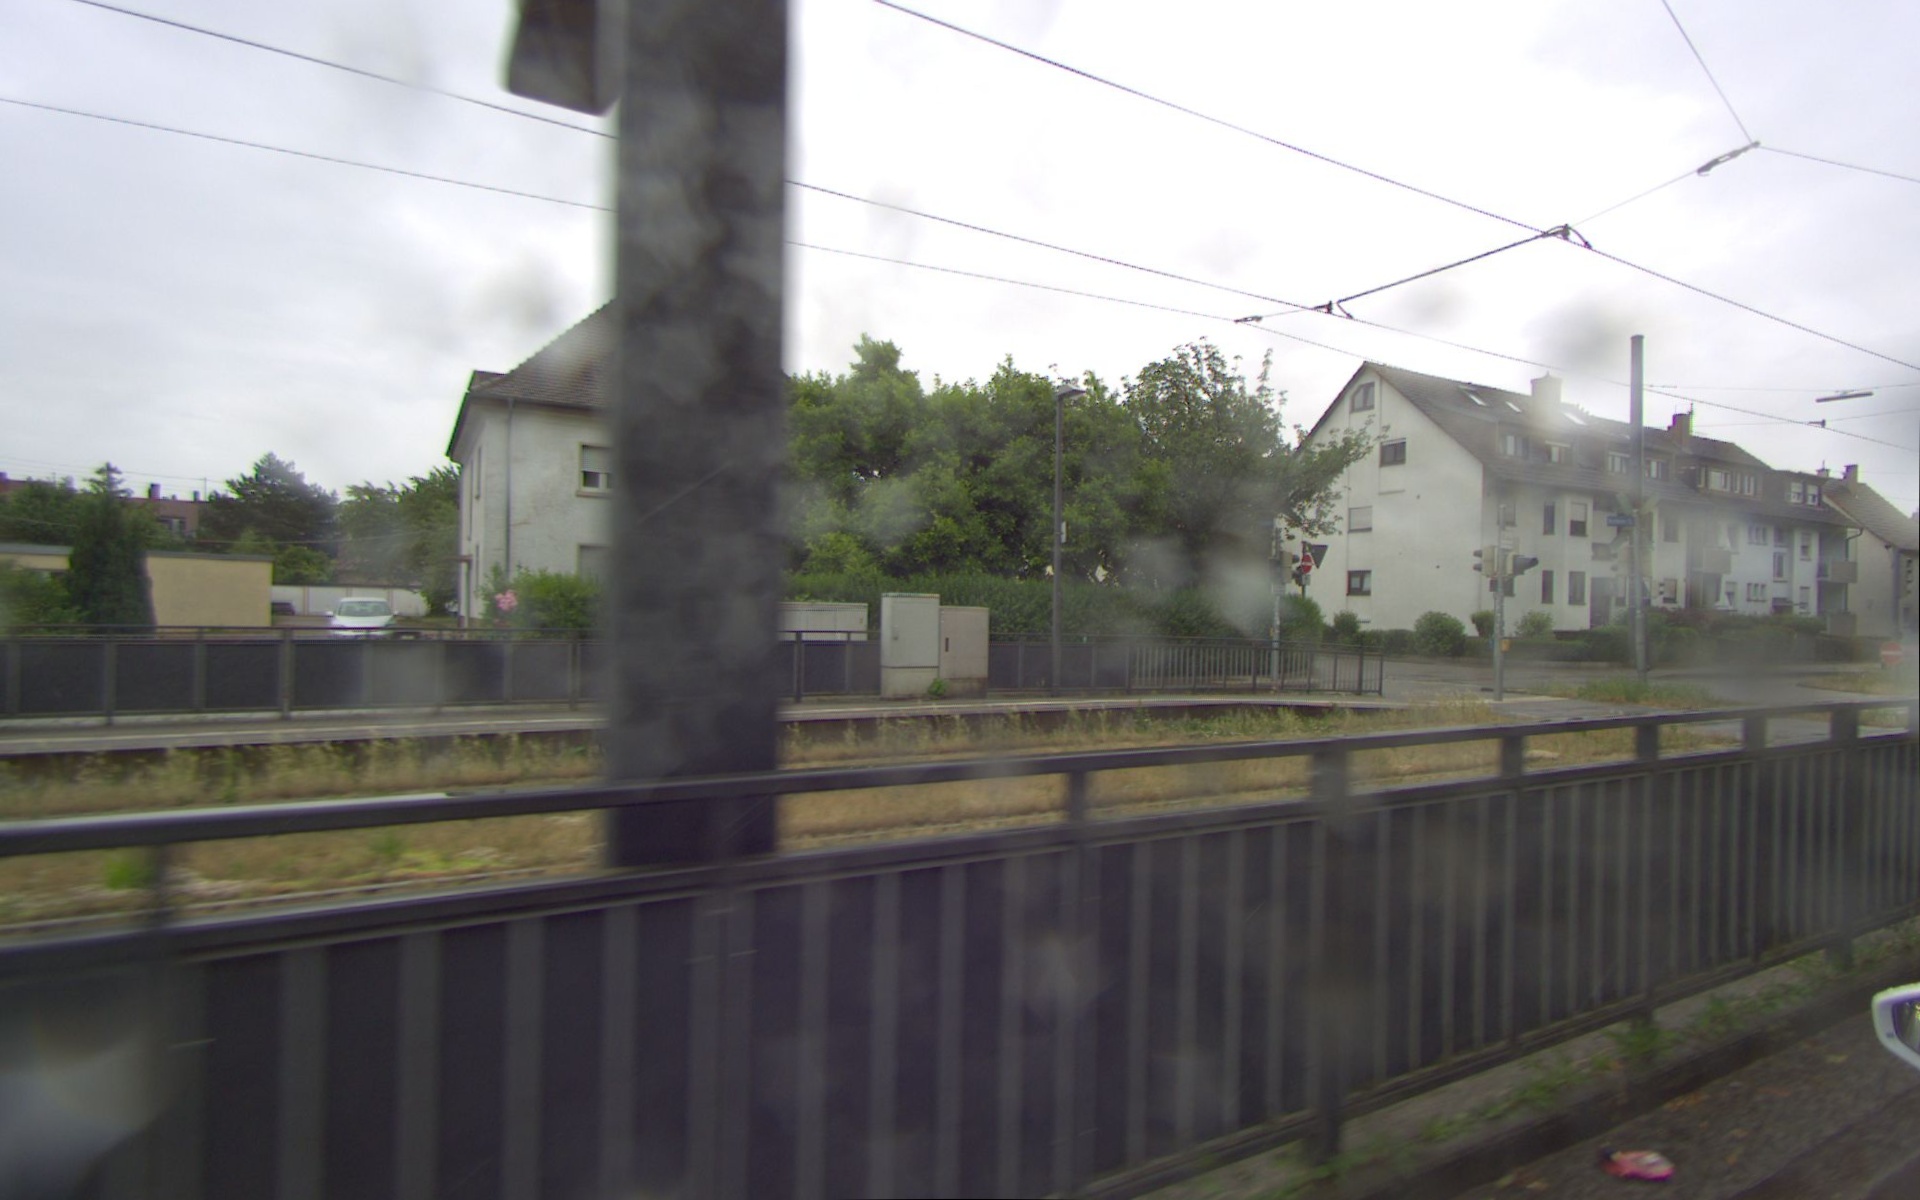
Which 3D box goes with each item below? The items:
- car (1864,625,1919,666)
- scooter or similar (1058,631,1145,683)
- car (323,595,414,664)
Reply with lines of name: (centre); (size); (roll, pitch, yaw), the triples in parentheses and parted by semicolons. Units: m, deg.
car: (38.045, 1.809, 39.881); (3.949, 1.506, 1.921); (2, 0, -27)
scooter or similar: (3.119, 1.247, 22.081); (1.844, 1.086, 0.660); (2, 0, -29)
car: (-17.510, 0.842, 29.911); (1.974, 1.840, 3.973); (2, 0, -26)
